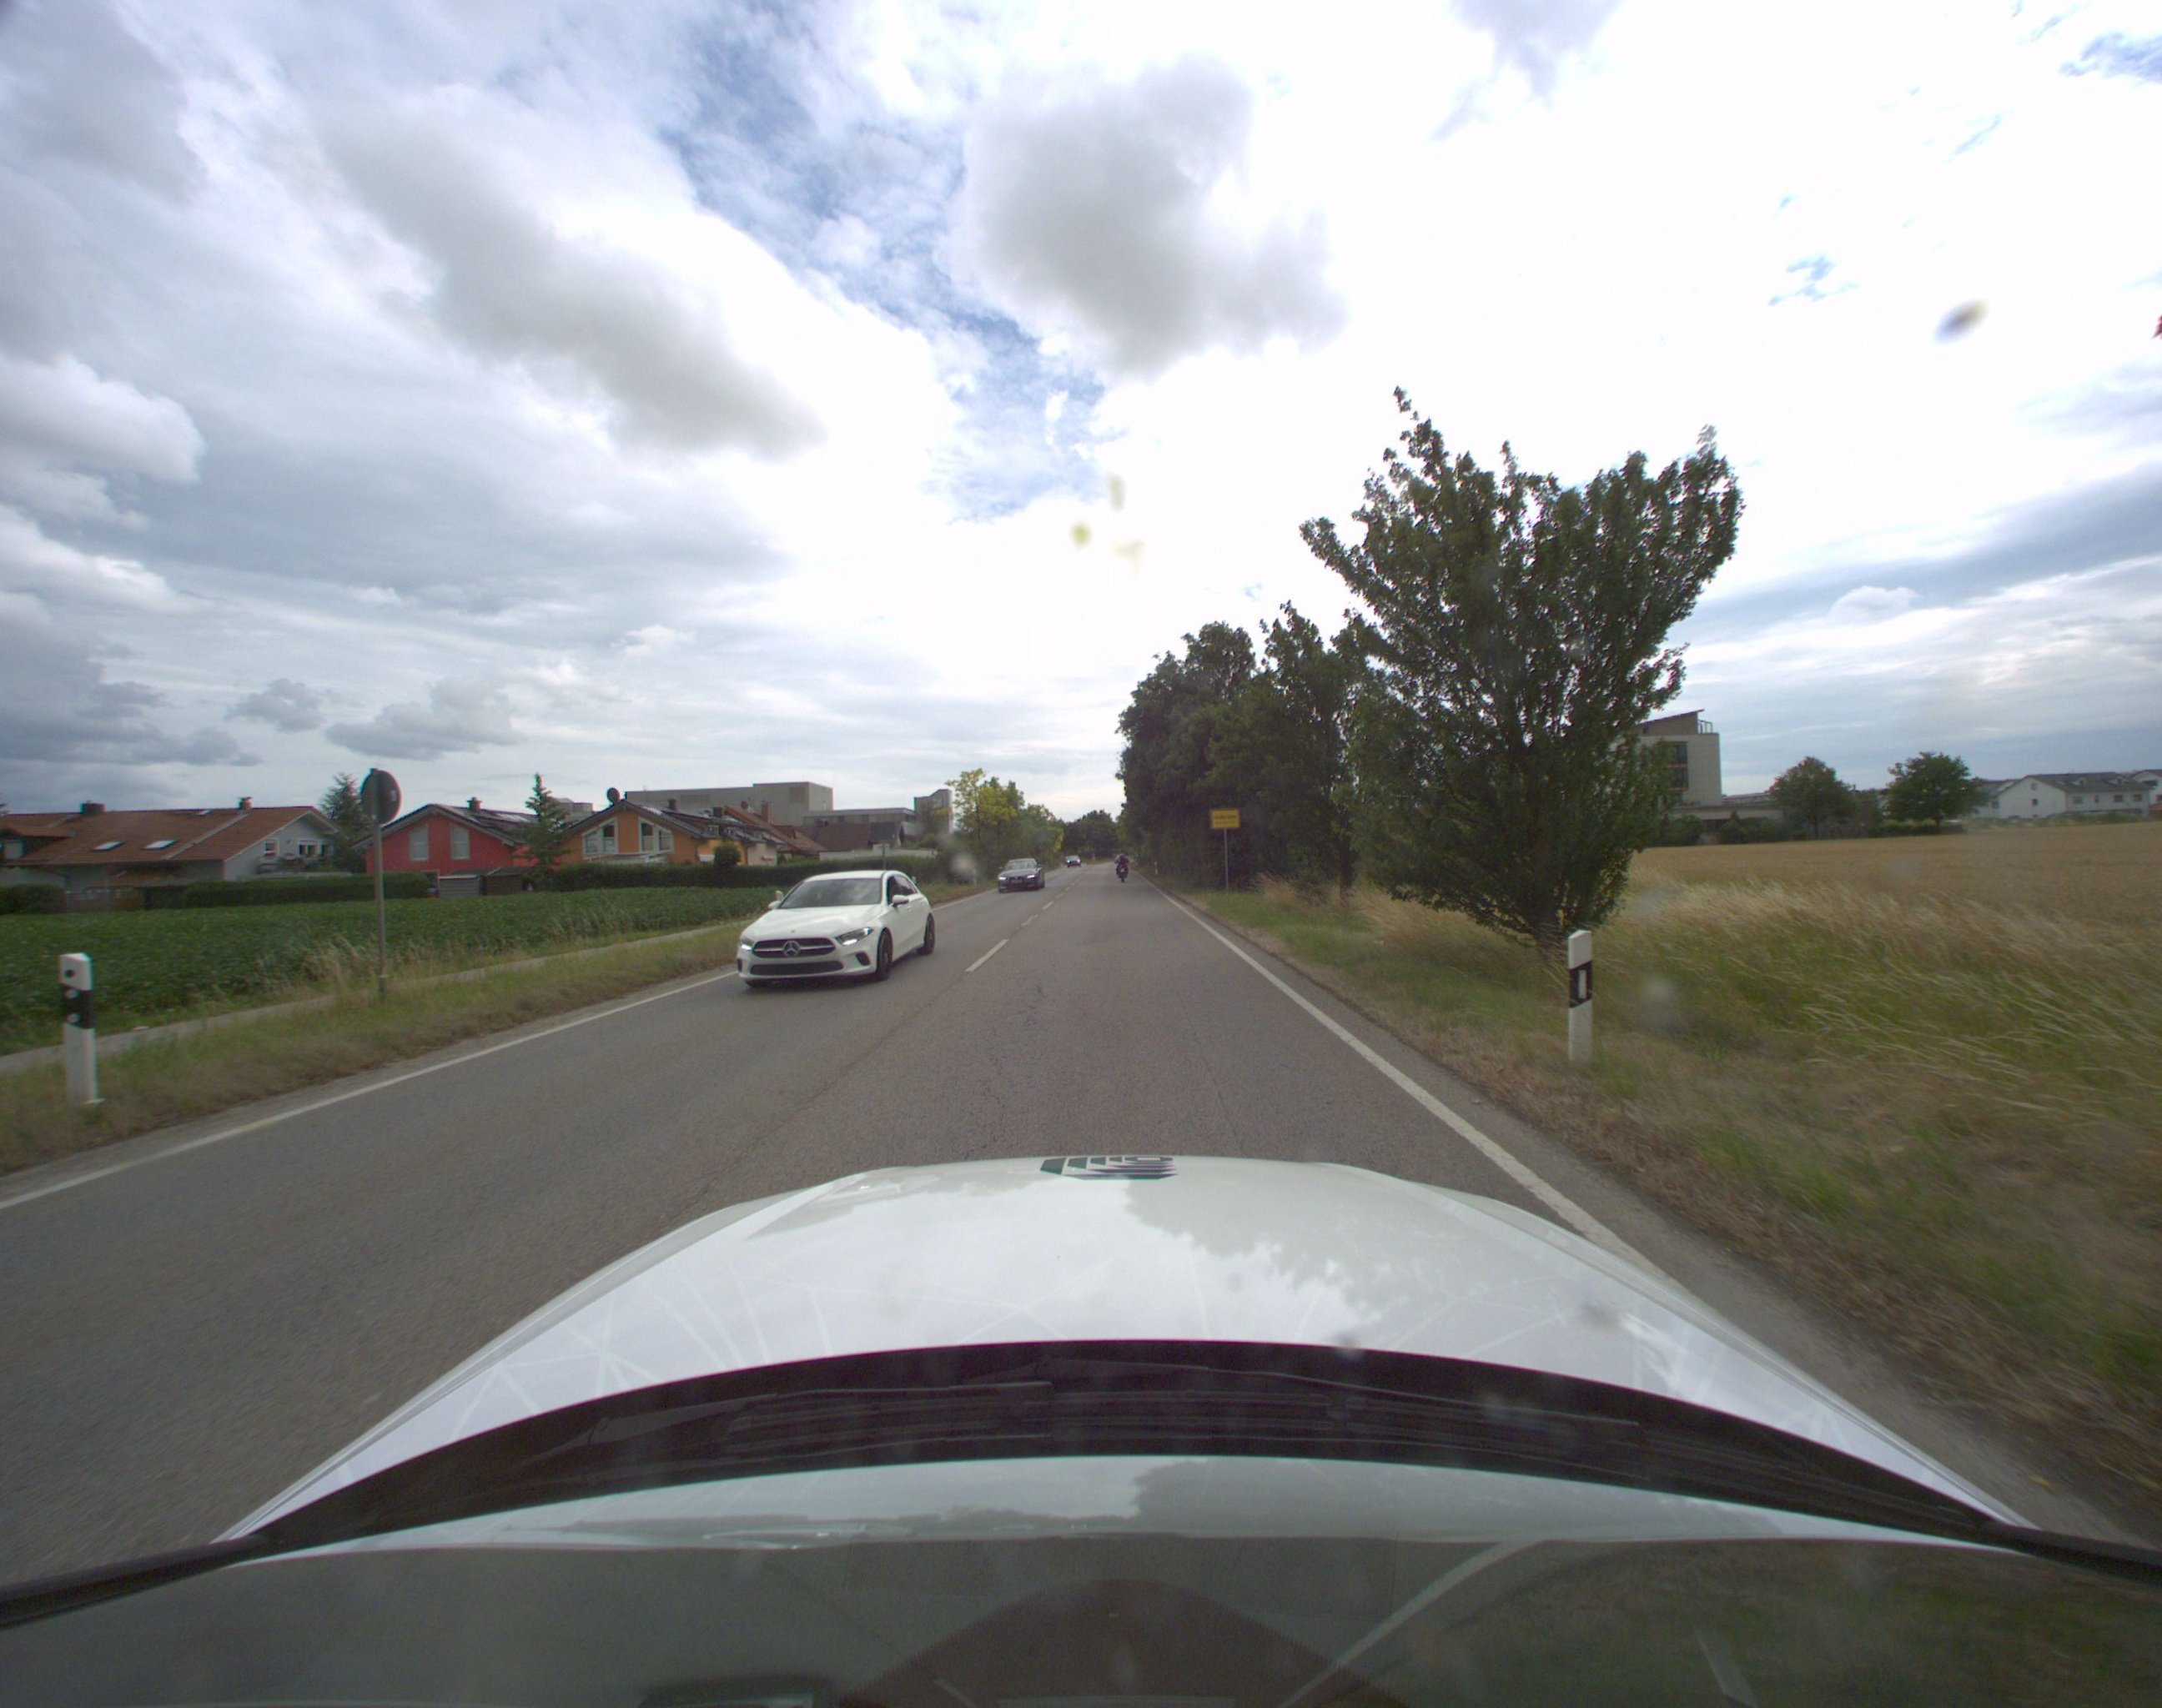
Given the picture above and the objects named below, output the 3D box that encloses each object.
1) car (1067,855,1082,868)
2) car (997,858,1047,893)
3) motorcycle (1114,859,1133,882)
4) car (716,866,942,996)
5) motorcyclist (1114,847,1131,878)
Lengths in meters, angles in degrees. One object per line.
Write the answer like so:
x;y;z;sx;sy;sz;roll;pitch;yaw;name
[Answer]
-0.842;0.974;107.124;1.809;1.494;4.205;-3;0;2;car
-2.705;0.966;38.157;1.846;1.464;4.372;-3;0;1;car
2.302;0.890;44.381;0.893;1.158;2.621;-2;0;2;motorcycle
-3.347;0.946;11.723;1.766;1.373;4.102;-4;0;2;car
2.277;0.461;44.443;0.858;1.623;1.191;-2;0;1;motorcyclist
